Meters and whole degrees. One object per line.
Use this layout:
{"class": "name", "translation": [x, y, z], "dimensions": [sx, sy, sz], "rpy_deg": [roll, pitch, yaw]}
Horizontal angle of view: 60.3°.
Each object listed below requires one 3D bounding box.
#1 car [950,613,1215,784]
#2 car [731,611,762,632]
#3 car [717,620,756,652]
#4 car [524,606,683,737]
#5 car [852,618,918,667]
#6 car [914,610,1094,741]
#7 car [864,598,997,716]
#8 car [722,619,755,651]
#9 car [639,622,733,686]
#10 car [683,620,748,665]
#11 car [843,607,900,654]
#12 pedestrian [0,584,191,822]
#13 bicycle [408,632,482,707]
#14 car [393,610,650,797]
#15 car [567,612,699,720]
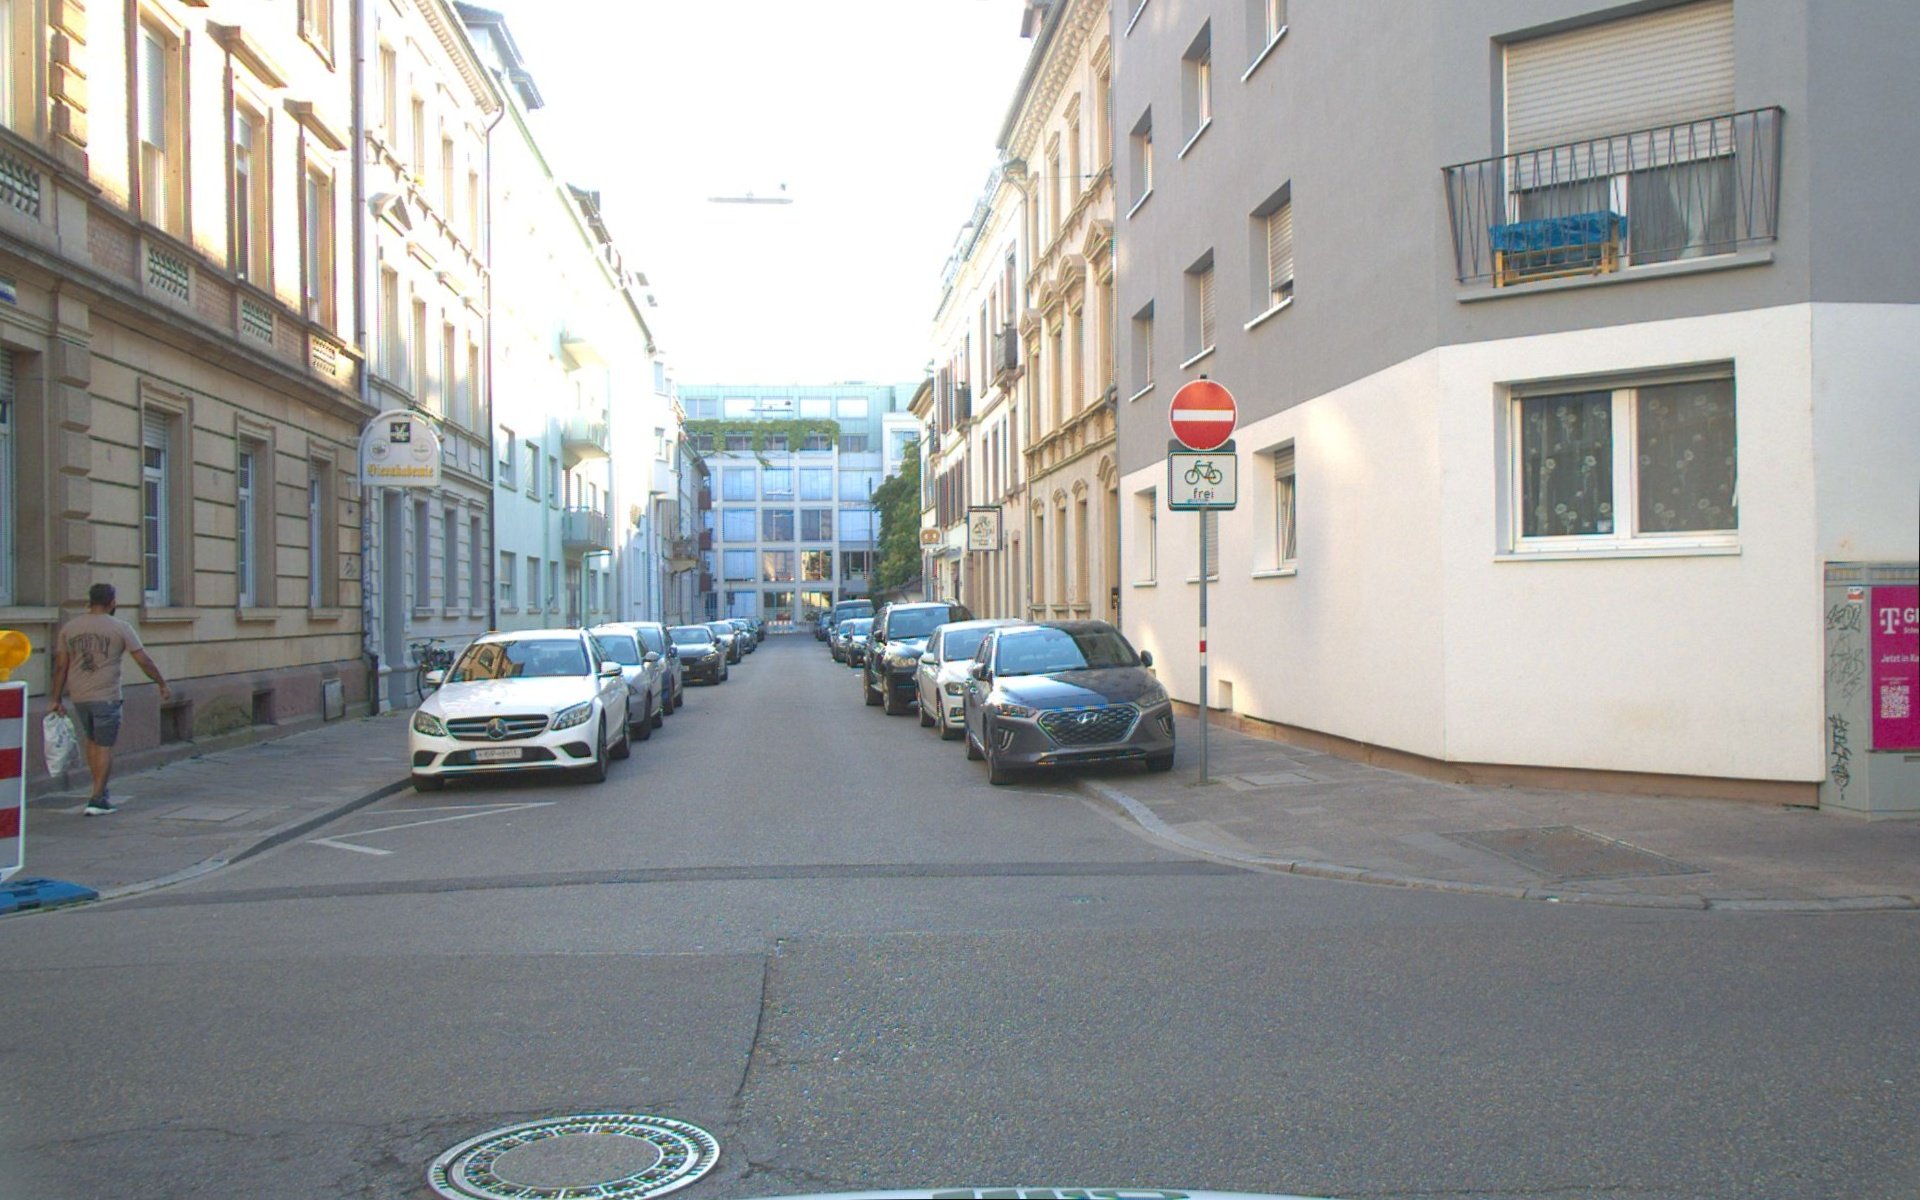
{"class": "car", "translation": [1.082, 0.876, 16.486], "dimensions": [1.901, 1.396, 3.783], "rpy_deg": [-3, 0, -7]}
{"class": "car", "translation": [-14.273, 1.436, 110.617], "dimensions": [1.956, 1.332, 3.876], "rpy_deg": [-1, 0, -8]}
{"class": "car", "translation": [-10.031, 1.608, 74.428], "dimensions": [1.674, 1.325, 3.994], "rpy_deg": [-1, 0, -7]}
{"class": "car", "translation": [-4.788, 0.903, 22.633], "dimensions": [1.593, 1.604, 3.750], "rpy_deg": [-1, 0, -4]}
{"class": "car", "translation": [-2.428, 1.325, 52.892], "dimensions": [1.954, 1.476, 3.996], "rpy_deg": [0, 0, -5]}
{"class": "car", "translation": [0.500, 0.952, 22.521], "dimensions": [1.926, 1.584, 3.883], "rpy_deg": [-1, 0, -6]}
{"class": "car", "translation": [-0.570, 0.900, 27.851], "dimensions": [1.857, 1.815, 3.994], "rpy_deg": [-1, 0, -7]}
{"class": "car", "translation": [-10.794, 1.686, 80.497], "dimensions": [1.555, 1.435, 3.384], "rpy_deg": [-1, 0, -8]}
{"class": "car", "translation": [-6.530, 1.251, 39.837], "dimensions": [1.955, 1.378, 4.423], "rpy_deg": [-1, 0, -6]}
{"class": "car", "translation": [-8.458, 1.460, 57.421], "dimensions": [2.132, 1.443, 3.993], "rpy_deg": [-1, 0, -8]}
{"class": "car", "translation": [-3.439, 1.132, 63.521], "dimensions": [1.955, 1.730, 3.994], "rpy_deg": [0, 0, -6]}
{"class": "pedestrian", "translation": [-6.763, 0.772, 12.910], "dimensions": [0.960, 1.773, 1.017], "rpy_deg": [-1, 0, 11]}
{"class": "bicycle", "translation": [-8.684, 1.146, 27.979], "dimensions": [0.723, 1.181, 2.458], "rpy_deg": [0, 0, -6]}
{"class": "car", "translation": [-4.380, 0.942, 17.211], "dimensions": [1.956, 1.591, 4.498], "rpy_deg": [-2, 0, -7]}
{"class": "car", "translation": [-5.518, 1.064, 28.319], "dimensions": [1.750, 1.688, 3.813], "rpy_deg": [-1, 0, -4]}
